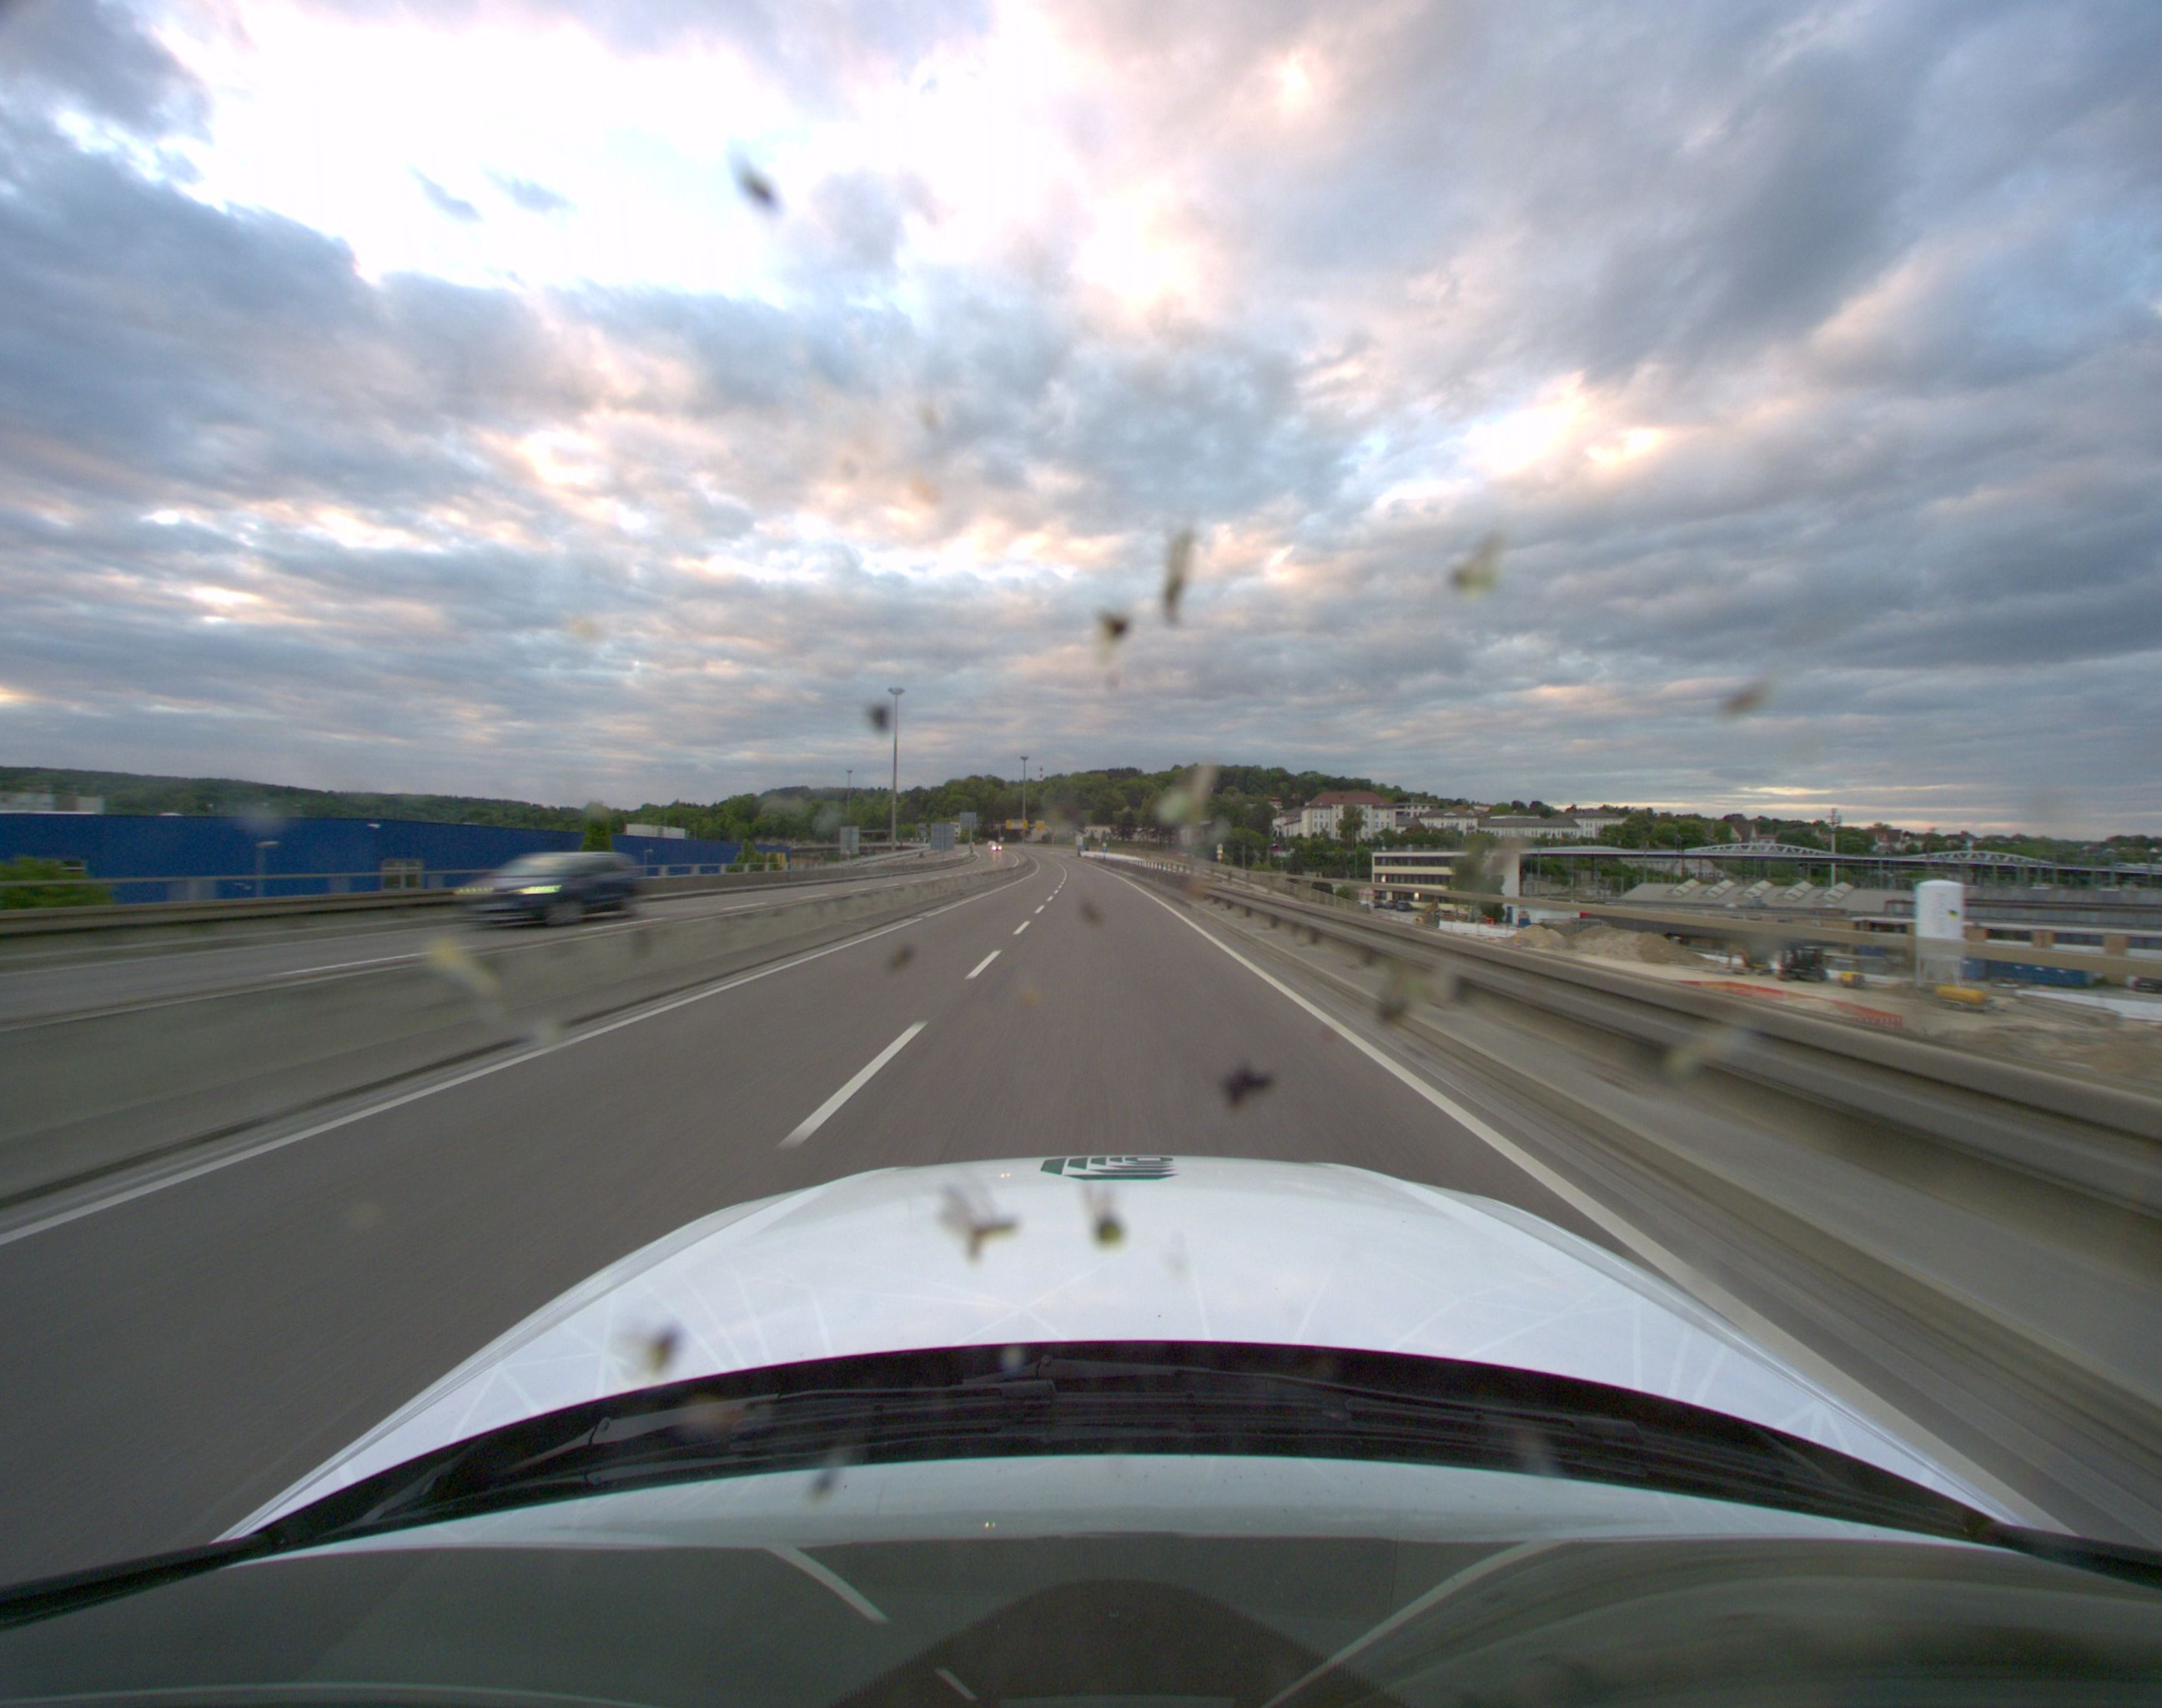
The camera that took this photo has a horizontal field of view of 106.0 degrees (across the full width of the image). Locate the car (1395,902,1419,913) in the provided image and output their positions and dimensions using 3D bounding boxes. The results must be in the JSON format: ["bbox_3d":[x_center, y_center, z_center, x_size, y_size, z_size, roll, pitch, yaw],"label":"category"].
[{"bbox_3d":[56.434,9.330,141.069,4.015,1.565,1.813,4,2,-34],"label":"car"}]

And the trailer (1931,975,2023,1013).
[{"bbox_3d":[62.973,9.822,57.315,1.991,1.803,3.835,6,0,-7],"label":"trailer"}]

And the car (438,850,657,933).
[{"bbox_3d":[-11.599,0.741,18.176,1.971,1.606,4.440,0,0,-1],"label":"car"}]

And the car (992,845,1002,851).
[{"bbox_3d":[-20.142,-1.435,195.371,1.830,1.480,4.270,0,0,-11],"label":"car"}]

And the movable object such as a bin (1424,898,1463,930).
[{"bbox_3d":[56.396,9.253,126.888,2.777,4.310,4.937,6,-1,-12],"label":"movable object such as a bin"}]

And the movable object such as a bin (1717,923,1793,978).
[{"bbox_3d":[62.011,8.845,74.964,4.949,4.310,2.771,6,-1,-15],"label":"movable object such as a bin"}]

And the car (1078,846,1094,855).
[{"bbox_3d":[1.022,-0.803,168.251,2.307,1.763,4.243,1,1,-13],"label":"car"}]

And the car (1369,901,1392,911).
[{"bbox_3d":[54.347,9.393,147.690,4.015,1.565,1.813,4,2,-34],"label":"car"}]

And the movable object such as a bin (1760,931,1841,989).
[{"bbox_3d":[63.078,9.265,71.439,4.949,4.310,2.771,6,-1,-15],"label":"movable object such as a bin"}]
